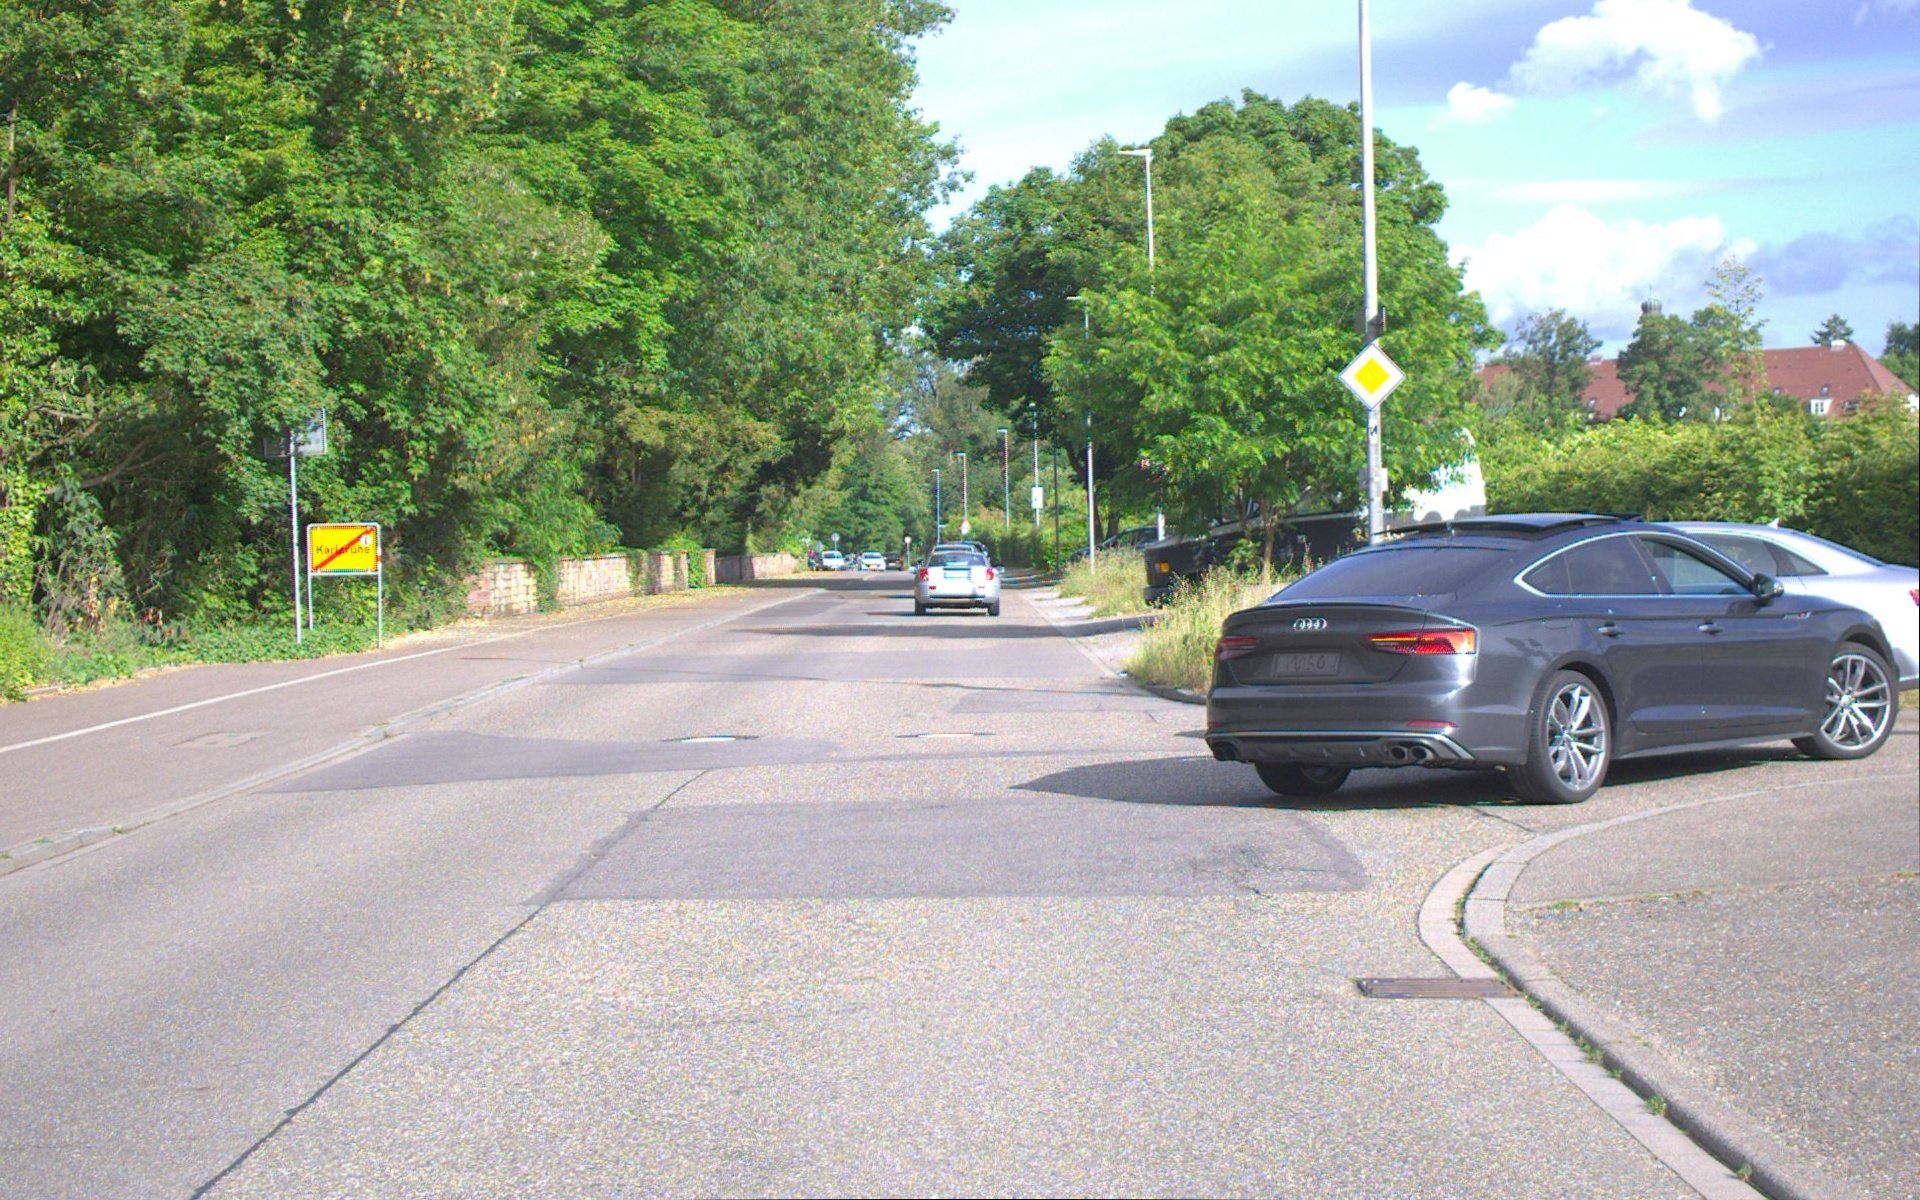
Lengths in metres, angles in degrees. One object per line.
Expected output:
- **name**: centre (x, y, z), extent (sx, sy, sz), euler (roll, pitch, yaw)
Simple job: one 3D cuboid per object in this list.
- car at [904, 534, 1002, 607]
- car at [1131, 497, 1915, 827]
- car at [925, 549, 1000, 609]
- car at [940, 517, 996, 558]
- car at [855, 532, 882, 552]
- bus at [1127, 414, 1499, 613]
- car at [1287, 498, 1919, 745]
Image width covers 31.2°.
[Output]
- **car**: centre (-0.159, -0.614, 69.591), extent (1.886, 1.367, 4.055), euler (-2, 1, -1)
- **car**: centre (3.073, 0.248, 18.126), extent (1.971, 1.429, 4.325), euler (-1, 2, 43)
- **car**: centre (0.036, -0.575, 91.314), extent (1.886, 1.460, 4.055), euler (-2, 1, -1)
- **car**: centre (0.264, -2.201, 121.444), extent (1.886, 1.367, 4.055), euler (-2, 1, -1)
- **car**: centre (-6.600, -4.205, 246.990), extent (1.886, 1.367, 4.055), euler (-2, 1, -2)
- **bus**: centre (5.415, -1.343, 53.183), extent (5.365, 2.737, 2.069), euler (-3, 2, -2)
- **car**: centre (4.473, 0.124, 23.438), extent (4.363, 1.438, 1.932), euler (-3, 1, 7)
